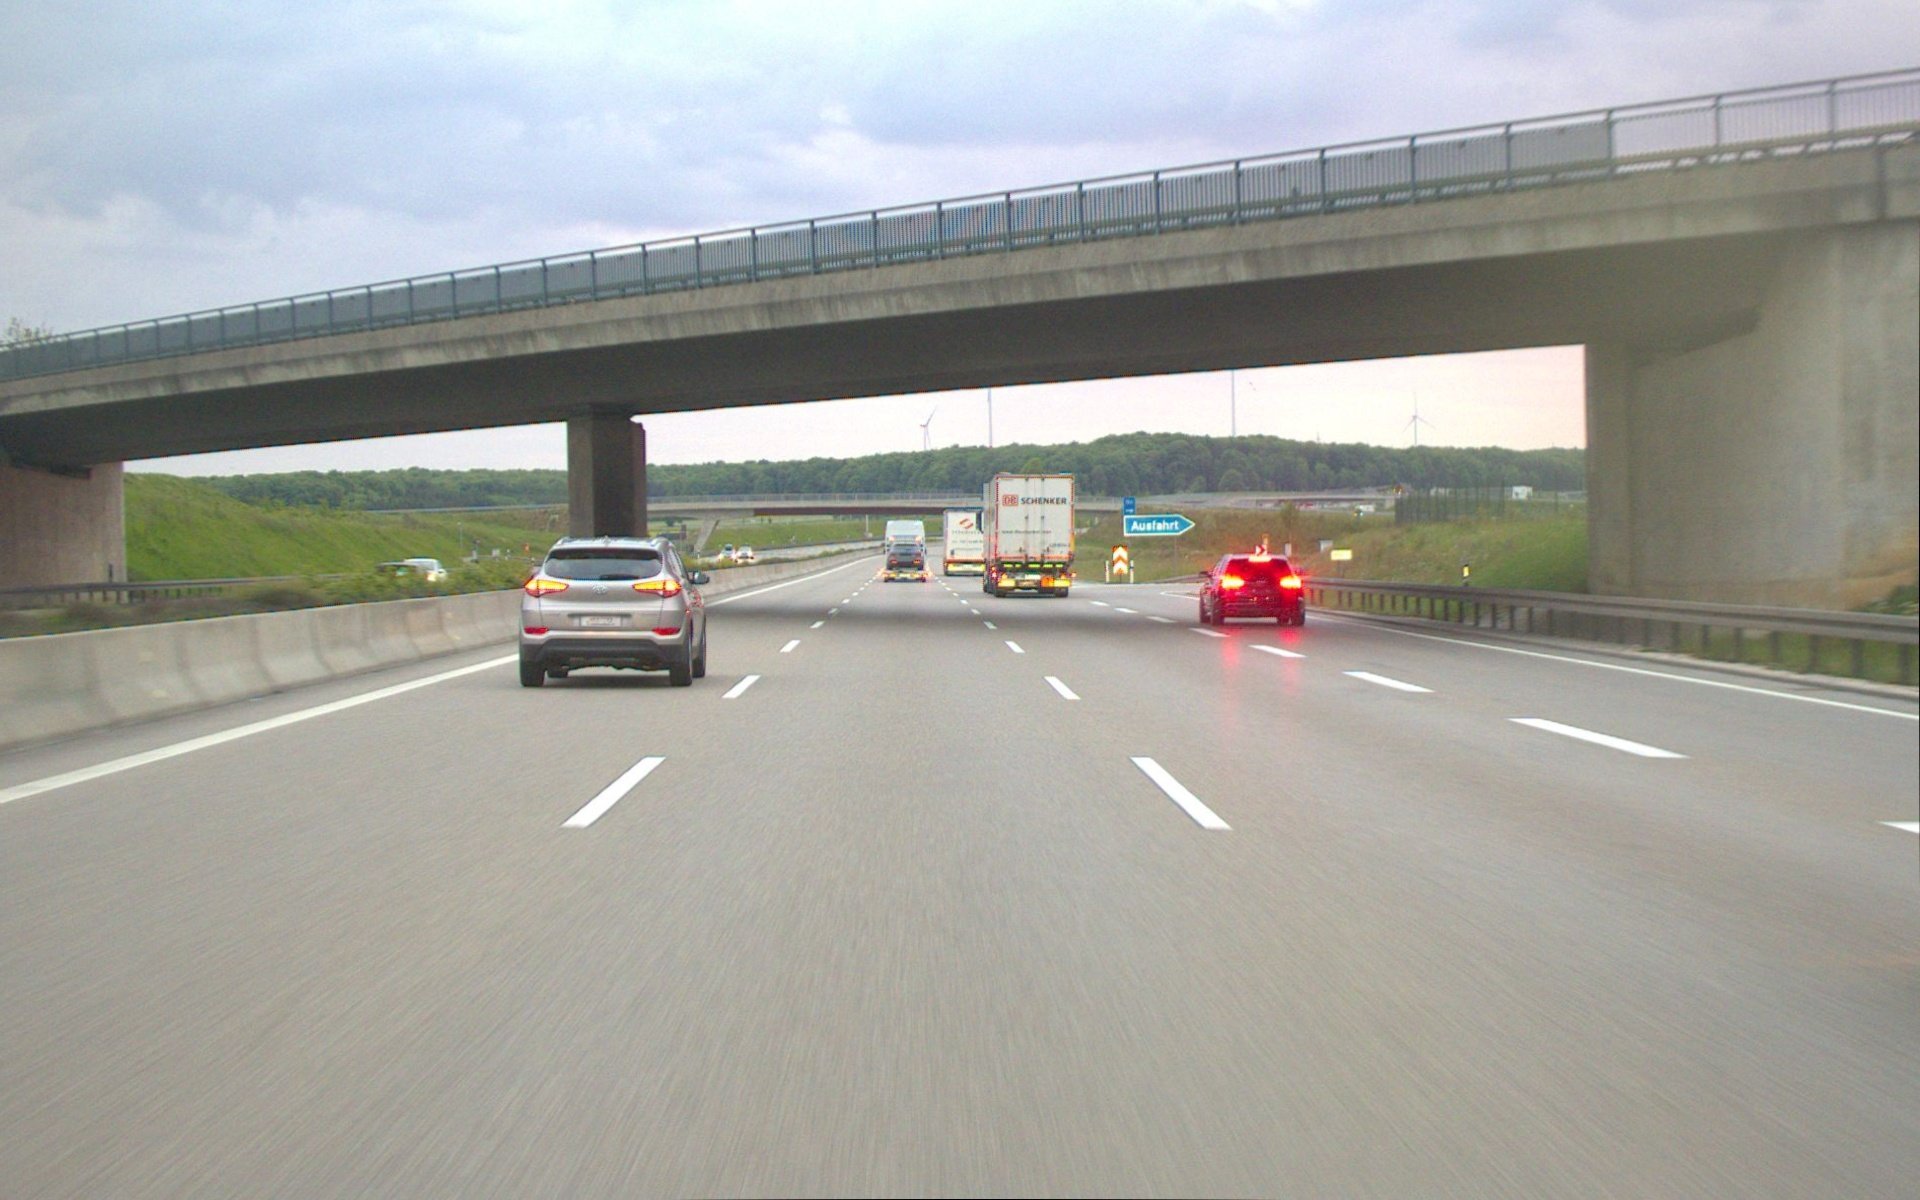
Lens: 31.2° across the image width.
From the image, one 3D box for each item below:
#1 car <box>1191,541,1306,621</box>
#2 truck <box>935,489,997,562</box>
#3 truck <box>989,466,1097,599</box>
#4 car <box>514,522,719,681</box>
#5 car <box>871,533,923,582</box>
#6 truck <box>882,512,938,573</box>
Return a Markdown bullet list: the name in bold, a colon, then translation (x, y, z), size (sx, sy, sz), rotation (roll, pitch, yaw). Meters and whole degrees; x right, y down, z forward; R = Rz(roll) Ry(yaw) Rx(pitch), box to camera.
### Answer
- **car**: translation (5.864, -0.413, 70.306), size (1.918, 1.574, 4.000), rotation (0, 1, -1)
- **truck**: translation (0.324, -4.585, 211.042), size (3.525, 4.330, 8.407), rotation (1, 2, -1)
- **truck**: translation (2.701, -2.289, 114.953), size (3.233, 4.213, 9.599), rotation (1, 2, 0)
- **car**: translation (-3.822, -0.038, 39.127), size (1.852, 1.687, 5.512), rotation (0, 1, -1)
- **car**: translation (-3.146, -2.124, 170.131), size (2.516, 2.383, 6.497), rotation (-1, 1, -2)
- **truck**: translation (-2.742, -3.152, 186.317), size (2.951, 3.206, 8.407), rotation (1, 2, -1)
